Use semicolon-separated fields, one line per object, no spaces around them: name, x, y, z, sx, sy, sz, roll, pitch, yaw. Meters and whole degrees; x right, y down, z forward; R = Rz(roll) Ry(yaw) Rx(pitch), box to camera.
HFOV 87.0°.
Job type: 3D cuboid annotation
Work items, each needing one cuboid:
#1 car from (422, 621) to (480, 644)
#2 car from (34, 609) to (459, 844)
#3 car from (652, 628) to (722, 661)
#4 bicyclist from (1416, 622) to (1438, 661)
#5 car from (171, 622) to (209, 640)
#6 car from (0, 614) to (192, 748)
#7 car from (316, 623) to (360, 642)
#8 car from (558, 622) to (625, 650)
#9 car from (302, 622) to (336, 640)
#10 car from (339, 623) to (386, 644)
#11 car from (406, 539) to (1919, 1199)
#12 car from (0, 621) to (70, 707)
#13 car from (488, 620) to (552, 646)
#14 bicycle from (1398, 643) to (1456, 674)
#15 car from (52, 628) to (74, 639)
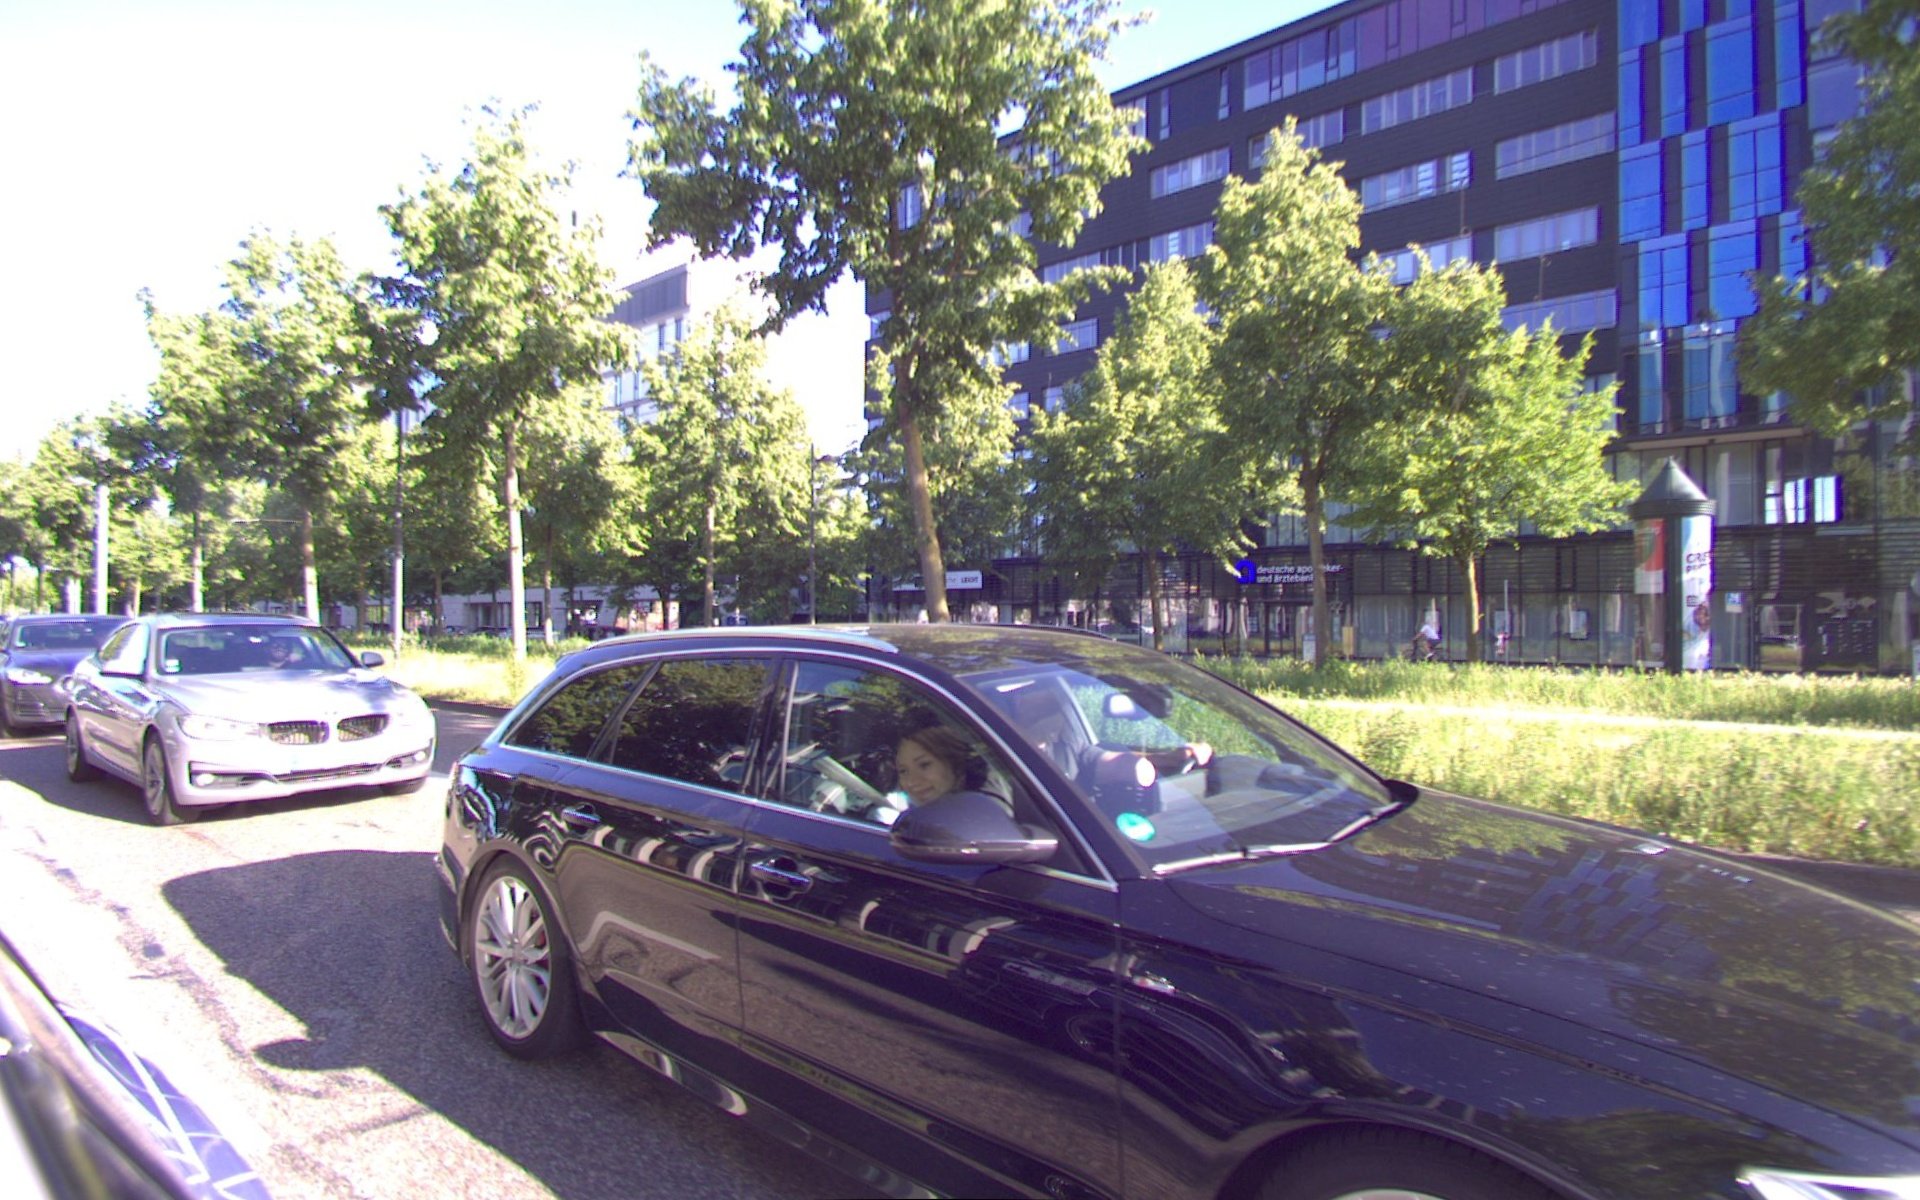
car;-38.612;2.457;76.716;4.784;1.712;1.988;-1;-2;37
car;-6.291;0.860;8.687;4.738;1.500;1.790;-1;-2;40
car;-15.247;2.463;56.470;3.997;1.762;1.835;-1;-2;41
bicyclist;16.957;1.504;36.756;0.626;1.416;0.487;-1;-1;40
car;-71.288;2.857;93.721;4.732;1.549;1.835;-1;-2;41
car;-11.980;0.979;13.635;4.026;1.534;1.789;-1;-2;41
car;-56.403;2.951;91.732;4.787;1.712;1.987;-1;-2;39
car;-23.090;2.219;63.399;4.789;1.697;1.834;-1;-2;41
car;-60.090;2.920;94.848;3.741;1.682;1.581;-1;-2;41
car;-51.981;2.904;87.975;4.787;1.712;1.987;-1;-2;39
car;0.288;0.712;2.890;4.505;1.468;1.789;-1;-2;40
car;-18.042;1.128;18.748;4.252;1.465;1.789;-1;-2;41
car;-30.576;2.273;70.225;4.784;1.712;1.988;-1;-2;37
bicycle;16.961;2.116;36.752;1.847;1.041;0.522;0;-1;41
car;-118.061;4.400;133.146;3.997;1.403;1.645;-1;-2;41
